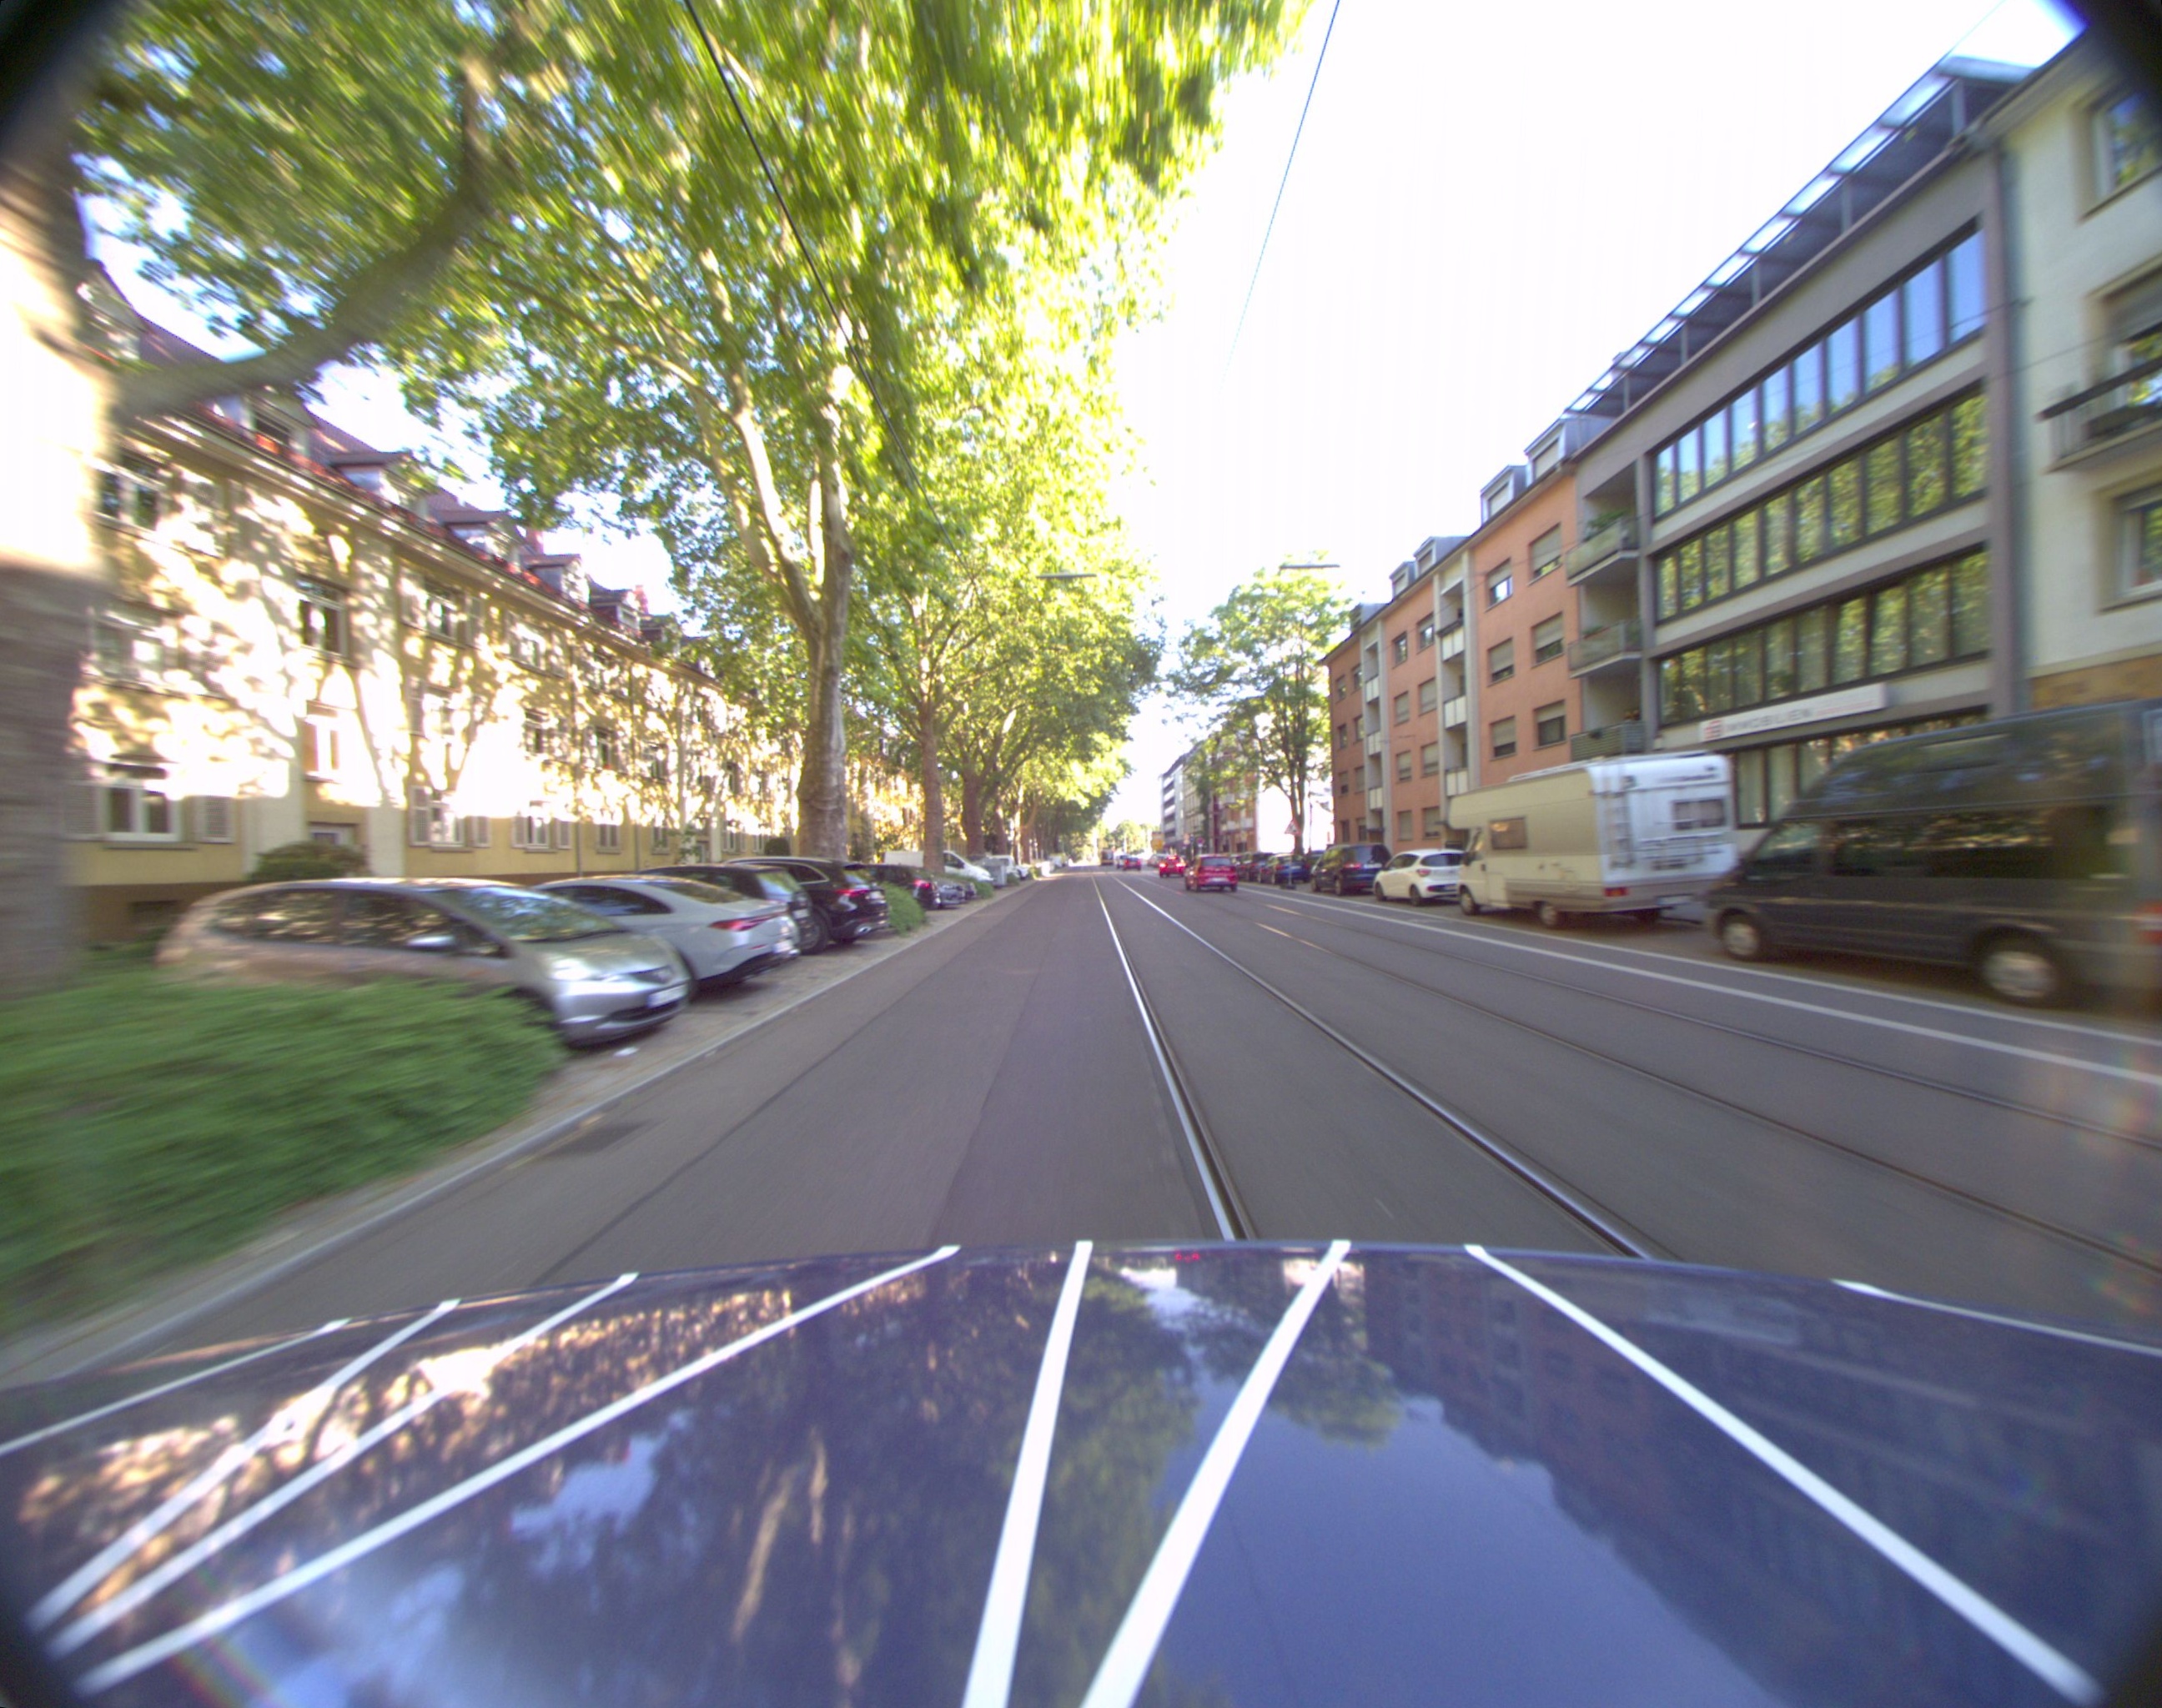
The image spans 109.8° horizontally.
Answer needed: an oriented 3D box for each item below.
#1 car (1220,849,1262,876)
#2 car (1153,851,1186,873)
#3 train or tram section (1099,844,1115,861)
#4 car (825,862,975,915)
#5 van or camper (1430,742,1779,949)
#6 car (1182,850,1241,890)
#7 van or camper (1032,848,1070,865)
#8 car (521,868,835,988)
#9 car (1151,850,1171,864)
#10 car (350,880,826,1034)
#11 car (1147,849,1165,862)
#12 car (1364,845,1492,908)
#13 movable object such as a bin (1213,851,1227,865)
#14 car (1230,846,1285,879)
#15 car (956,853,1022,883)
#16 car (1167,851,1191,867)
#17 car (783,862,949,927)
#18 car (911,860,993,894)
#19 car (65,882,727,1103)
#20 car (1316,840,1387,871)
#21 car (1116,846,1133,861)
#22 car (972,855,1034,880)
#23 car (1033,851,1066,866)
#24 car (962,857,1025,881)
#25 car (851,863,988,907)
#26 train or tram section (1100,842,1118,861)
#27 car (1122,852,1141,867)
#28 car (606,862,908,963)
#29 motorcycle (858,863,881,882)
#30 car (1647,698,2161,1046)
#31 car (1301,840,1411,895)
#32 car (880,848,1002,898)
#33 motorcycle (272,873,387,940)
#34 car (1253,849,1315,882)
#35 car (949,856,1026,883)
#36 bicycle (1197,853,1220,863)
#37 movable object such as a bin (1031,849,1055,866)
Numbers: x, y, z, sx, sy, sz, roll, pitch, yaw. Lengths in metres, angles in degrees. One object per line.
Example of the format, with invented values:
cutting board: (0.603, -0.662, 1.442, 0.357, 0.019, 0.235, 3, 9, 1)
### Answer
car: (9.914, 0.480, 47.351, 1.811, 1.469, 4.089, -4, 0, 1)
car: (6.033, 0.529, 52.170, 1.727, 1.428, 4.069, -2, 0, 0)
train or tram section: (5.567, -0.389, 164.377, 2.916, 3.465, 13.369, -2, 0, 0)
car: (-5.652, 1.055, 24.111, 4.258, 1.475, 1.898, -2, 0, 0)
van or camper: (9.552, -0.137, 14.930, 2.343, 3.023, 6.397, -5, 0, 1)
car: (5.205, 0.617, 30.772, 1.667, 1.470, 3.950, -1, 0, 0)
van or camper: (-4.927, 0.405, 123.554, 5.939, 2.614, 2.270, -1, 1, 2)
car: (-5.837, 1.040, 11.327, 3.687, 1.538, 1.777, -1, 1, 2)
car: (10.122, 0.391, 96.299, 1.957, 1.639, 4.881, -3, 1, -1)
car: (-5.520, 1.118, 8.997, 4.306, 1.430, 1.947, -2, 0, -1)
car: (10.520, 0.250, 107.347, 1.793, 1.760, 4.470, -3, 0, -3)
car: (9.651, 0.584, 21.489, 1.714, 1.479, 3.861, -5, 0, -1)
movable object such as a bin: (13.880, 0.361, 75.888, 1.214, 1.357, 0.747, -1, 1, 2)
car: (9.601, 0.454, 41.756, 1.786, 1.601, 4.587, -5, 0, -1)
car: (-5.853, 0.854, 48.508, 3.852, 1.761, 1.917, -2, 0, 4)
car: (9.770, 0.492, 75.683, 1.729, 1.474, 3.930, -4, 0, -1)
car: (-5.564, 1.036, 20.013, 3.848, 1.501, 1.710, -2, 0, 0)
car: (-5.984, 1.048, 35.607, 3.536, 1.438, 1.672, -2, 0, -2)
car: (-5.628, 1.088, 6.669, 4.152, 1.500, 1.796, -2, 0, 1)
car: (19.697, 0.131, 55.515, 2.003, 2.111, 4.712, -3, 1, -28)
car: (5.451, -0.051, 96.054, 1.896, 1.821, 4.895, -2, 0, 0)
car: (-5.397, 0.926, 52.786, 4.098, 1.512, 1.916, -2, 1, -1)
car: (-4.729, 0.670, 113.969, 4.847, 2.001, 2.063, -1, 0, 0)
car: (-5.772, 1.002, 50.471, 3.852, 1.424, 1.852, -2, 0, 4)
car: (-5.668, 1.078, 27.003, 4.406, 1.372, 1.804, -2, 1, 4)
train or tram section: (5.462, -0.525, 150.511, 2.916, 3.465, 14.197, -2, 0, 0)
car: (5.275, 0.550, 79.828, 1.780, 1.449, 4.202, 0, 0, 0)
car: (-5.616, 0.966, 13.568, 4.506, 1.593, 2.028, 0, 1, 4)
motorcycle: (-13.043, 1.123, 46.931, 0.717, 1.146, 2.264, -1, 0, 1)
car: (9.412, 0.070, 8.433, 2.092, 2.715, 5.309, -5, 0, -1)
car: (9.598, 0.432, 27.016, 1.957, 1.676, 5.070, -3, 0, -1)
car: (-5.994, 0.793, 33.014, 4.849, 1.952, 2.064, -2, 0, -2)
motorcycle: (-16.110, 1.117, 16.314, 1.808, 1.353, 0.622, 1, 1, -2)
car: (9.732, 0.522, 36.784, 1.742, 1.392, 4.382, -4, 0, -1)
car: (-5.668, 0.940, 46.344, 4.380, 1.533, 1.802, -2, 0, 4)
bicycle: (15.044, 0.435, 89.584, 2.457, 1.056, 0.699, -3, 1, -2)
movable object such as a bin: (-5.140, 0.507, 103.804, 1.482, 2.256, 3.283, -2, 0, 34)
